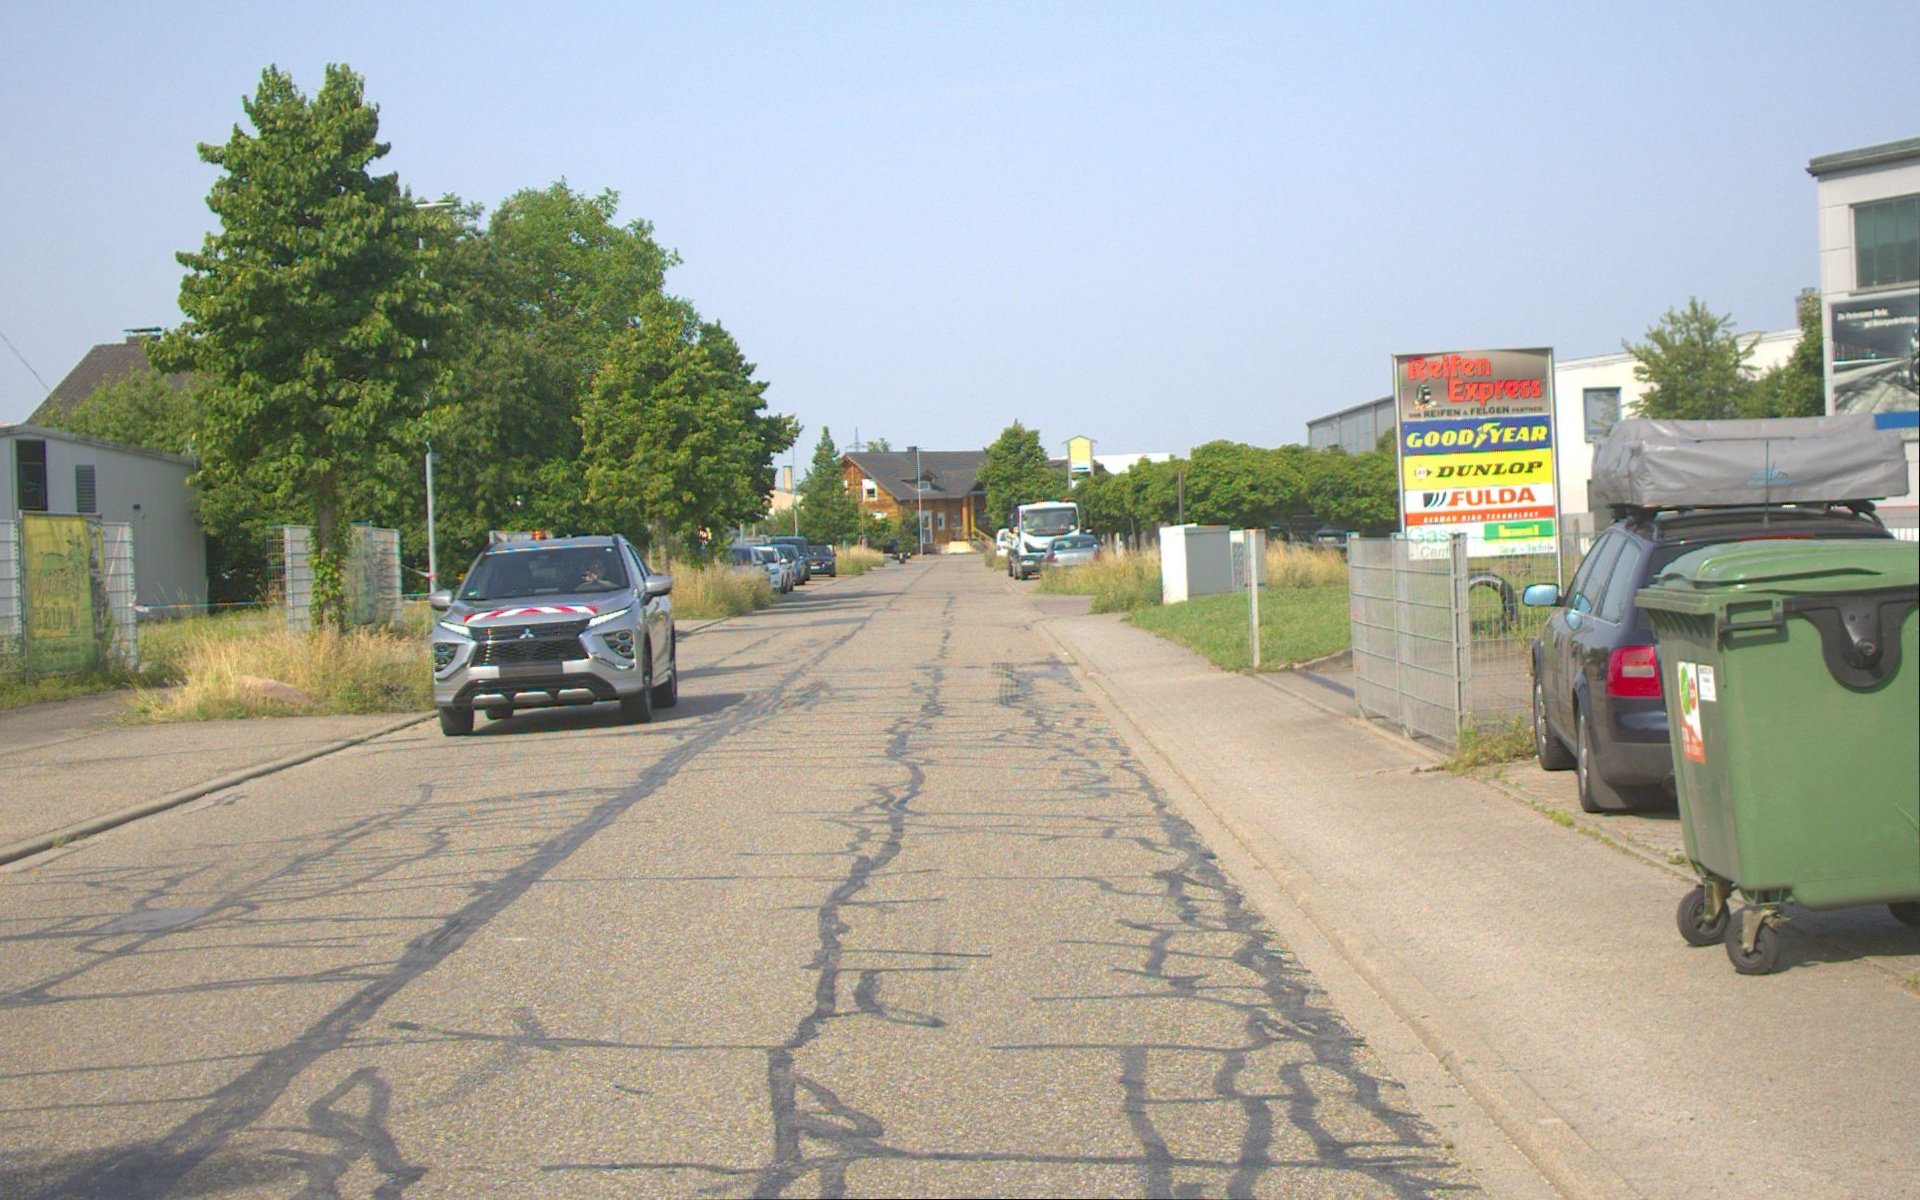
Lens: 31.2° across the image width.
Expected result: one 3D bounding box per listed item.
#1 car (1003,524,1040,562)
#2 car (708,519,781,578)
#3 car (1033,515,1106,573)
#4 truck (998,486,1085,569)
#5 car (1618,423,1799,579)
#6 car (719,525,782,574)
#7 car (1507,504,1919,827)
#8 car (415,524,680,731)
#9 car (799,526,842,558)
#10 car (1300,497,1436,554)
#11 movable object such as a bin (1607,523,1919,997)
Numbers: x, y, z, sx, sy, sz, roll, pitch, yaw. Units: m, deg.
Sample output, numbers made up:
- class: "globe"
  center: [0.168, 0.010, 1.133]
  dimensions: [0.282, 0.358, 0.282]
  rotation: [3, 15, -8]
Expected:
- class: "car"
  center: [3.228, -3.021, 181.258]
  dimensions: [1.837, 1.917, 3.756]
  rotation: [-3, 1, 0]
- class: "car"
  center: [-5.968, -1.442, 95.503]
  dimensions: [1.566, 1.533, 3.688]
  rotation: [-3, 1, 3]
- class: "car"
  center: [3.021, -1.565, 95.288]
  dimensions: [1.794, 1.512, 4.424]
  rotation: [-3, 1, 0]
- class: "truck"
  center: [2.789, -2.512, 118.873]
  dimensions: [2.359, 2.672, 6.512]
  rotation: [-3, 1, -3]
- class: "car"
  center: [13.878, -1.823, 64.112]
  dimensions: [1.974, 2.696, 5.881]
  rotation: [-2, 1, 0]
- class: "car"
  center: [-6.434, -1.560, 105.874]
  dimensions: [1.683, 1.464, 4.254]
  rotation: [-1, 1, 0]
- class: "car"
  center: [3.781, 0.235, 17.261]
  dimensions: [1.674, 1.364, 4.393]
  rotation: [-2, 1, 5]
- class: "car"
  center: [-3.577, 0.181, 30.512]
  dimensions: [1.811, 1.621, 4.250]
  rotation: [-3, 1, 0]
- class: "car"
  center: [-6.276, -2.619, 154.618]
  dimensions: [1.800, 1.382, 3.638]
  rotation: [-1, 1, -1]
- class: "car"
  center: [12.768, -2.331, 107.400]
  dimensions: [4.522, 1.583, 1.686]
  rotation: [-4, 2, -44]
- class: "movable object such as a bin"
  center: [2.814, 0.468, 11.117]
  dimensions: [1.081, 1.348, 1.506]
  rotation: [-5, 1, 1]
